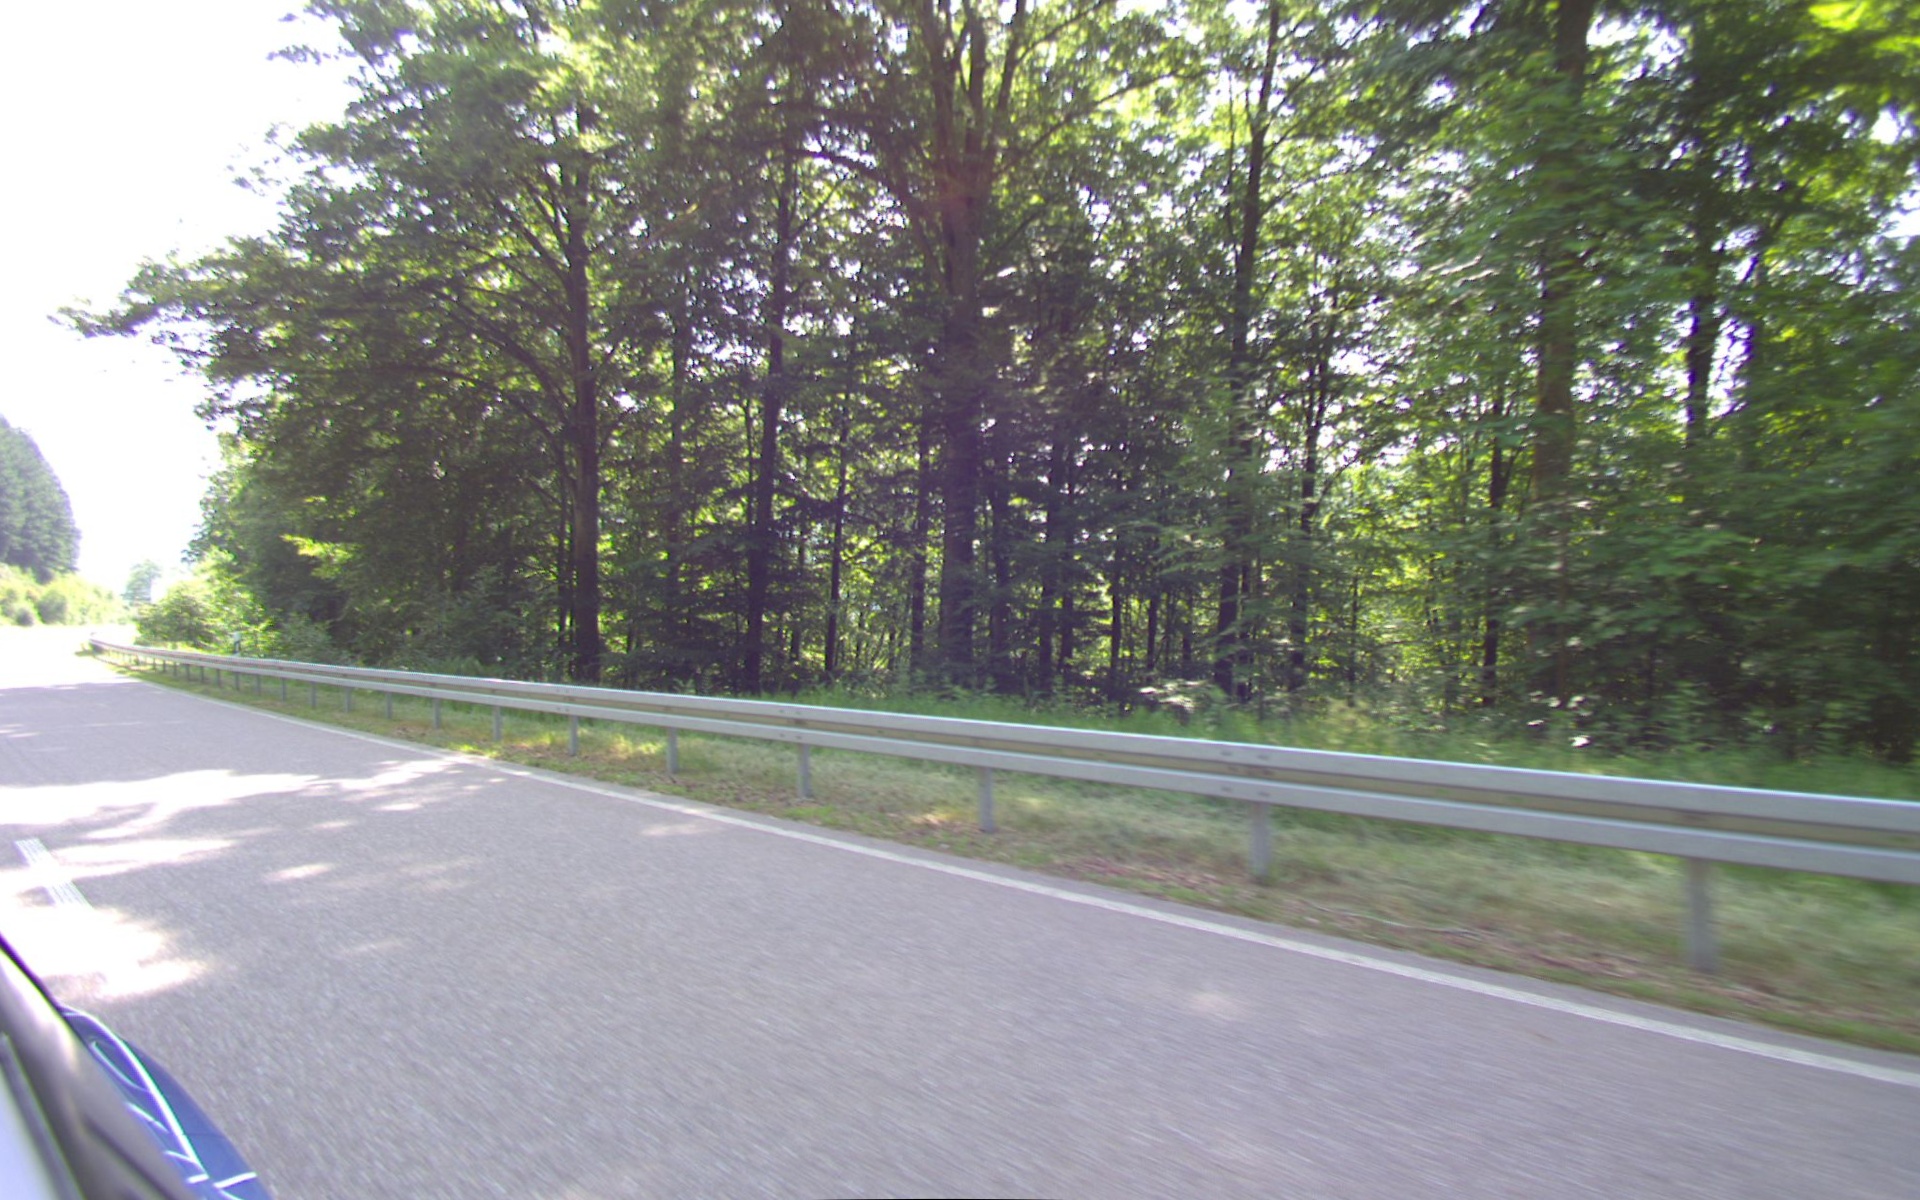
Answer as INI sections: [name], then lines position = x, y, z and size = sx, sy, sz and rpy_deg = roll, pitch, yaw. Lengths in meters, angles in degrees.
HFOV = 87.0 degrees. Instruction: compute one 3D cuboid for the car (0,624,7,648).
[car]
position = -70.206, 2.584, 72.881
size = 1.968, 1.741, 4.007
rpy_deg = 0, -1, -40
